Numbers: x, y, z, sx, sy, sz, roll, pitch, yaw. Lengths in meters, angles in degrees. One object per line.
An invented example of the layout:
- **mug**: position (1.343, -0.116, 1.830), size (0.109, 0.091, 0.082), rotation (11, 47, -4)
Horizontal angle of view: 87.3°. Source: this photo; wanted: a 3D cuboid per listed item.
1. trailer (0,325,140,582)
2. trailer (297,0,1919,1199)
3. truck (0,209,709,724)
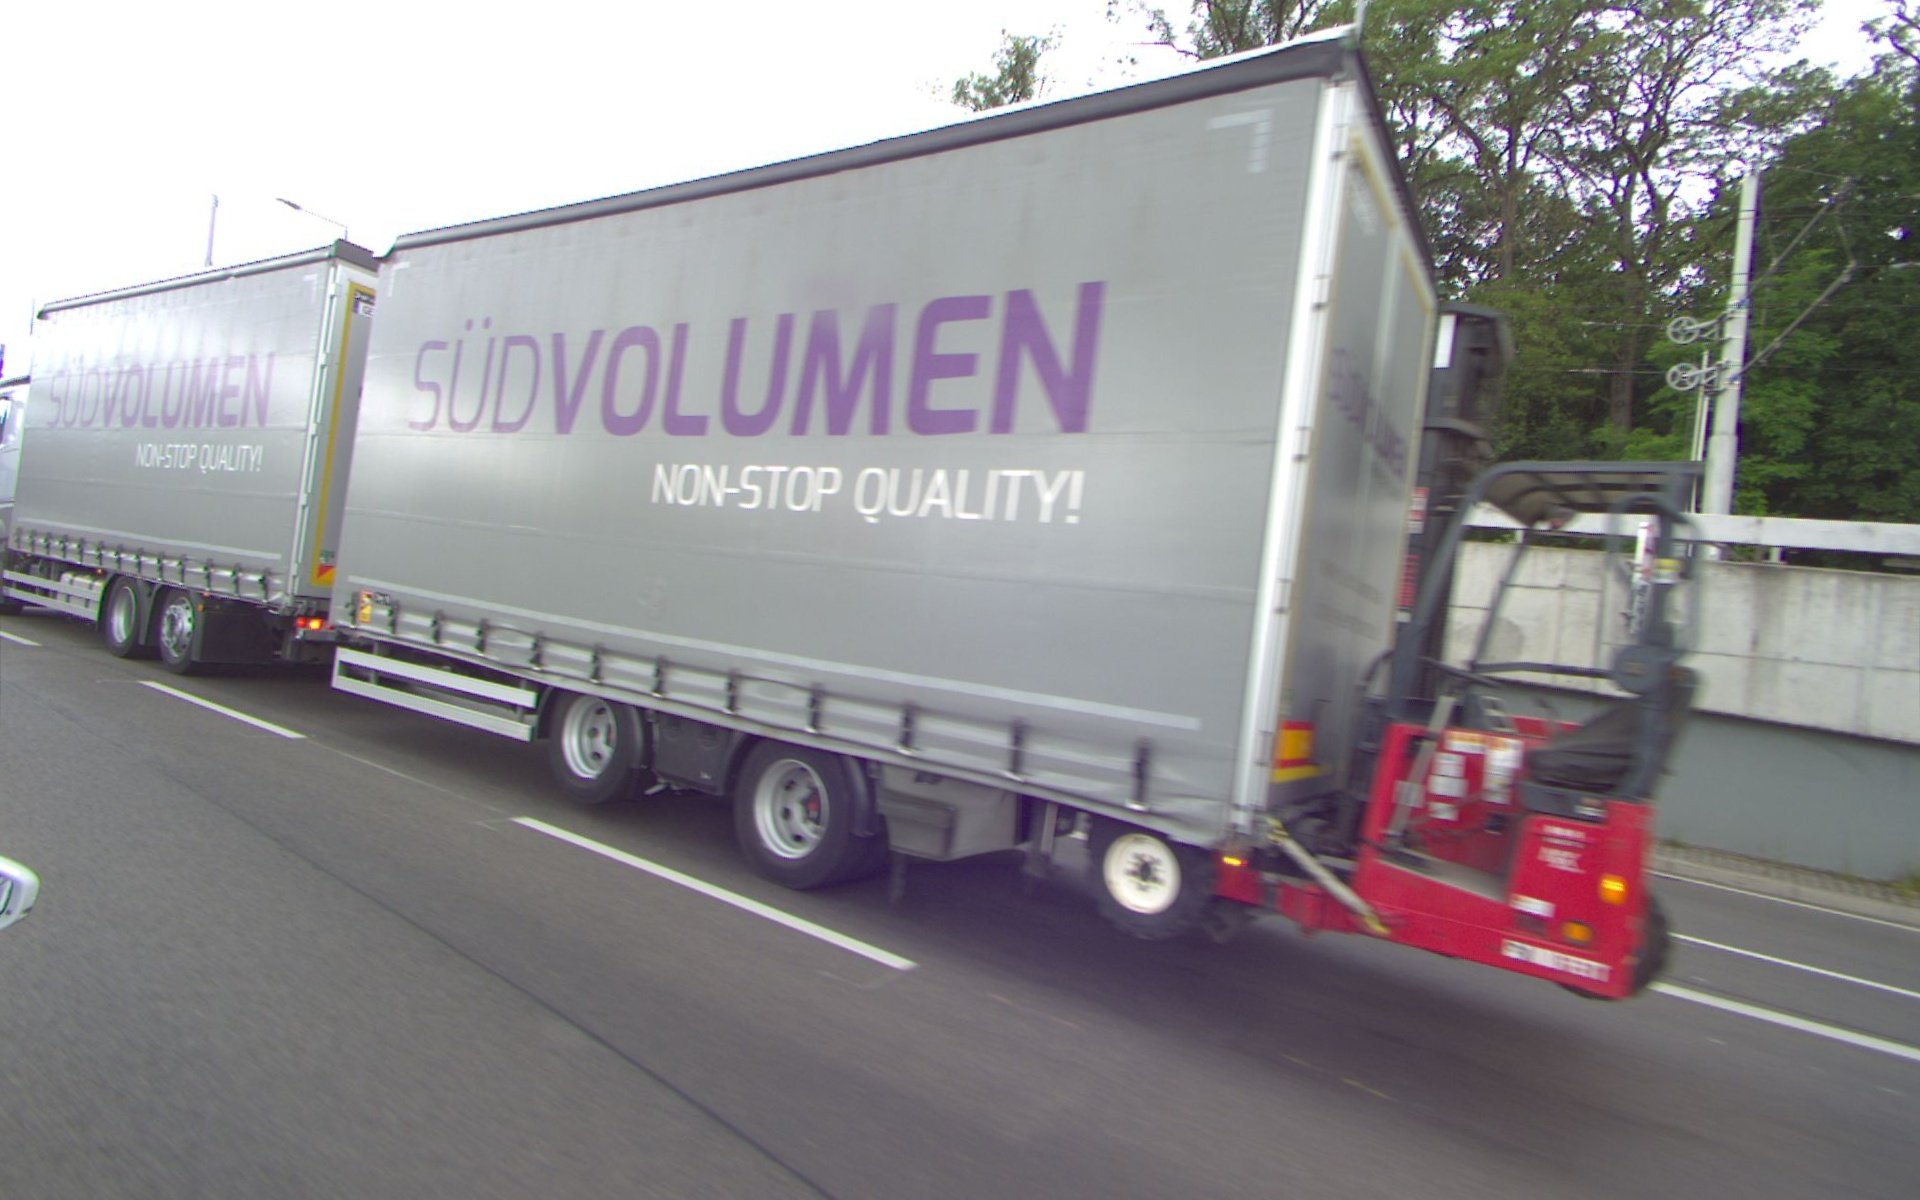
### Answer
- **trailer**: position (-23.416, -3.455, 22.555), size (11.914, 4.685, 3.812), rotation (7, -2, 32)
- **trailer**: position (0.403, -0.356, 6.665), size (10.806, 4.190, 3.730), rotation (6, -2, 34)
- **truck**: position (-8.534, -1.390, 12.674), size (10.806, 4.190, 3.730), rotation (6, -2, 34)
